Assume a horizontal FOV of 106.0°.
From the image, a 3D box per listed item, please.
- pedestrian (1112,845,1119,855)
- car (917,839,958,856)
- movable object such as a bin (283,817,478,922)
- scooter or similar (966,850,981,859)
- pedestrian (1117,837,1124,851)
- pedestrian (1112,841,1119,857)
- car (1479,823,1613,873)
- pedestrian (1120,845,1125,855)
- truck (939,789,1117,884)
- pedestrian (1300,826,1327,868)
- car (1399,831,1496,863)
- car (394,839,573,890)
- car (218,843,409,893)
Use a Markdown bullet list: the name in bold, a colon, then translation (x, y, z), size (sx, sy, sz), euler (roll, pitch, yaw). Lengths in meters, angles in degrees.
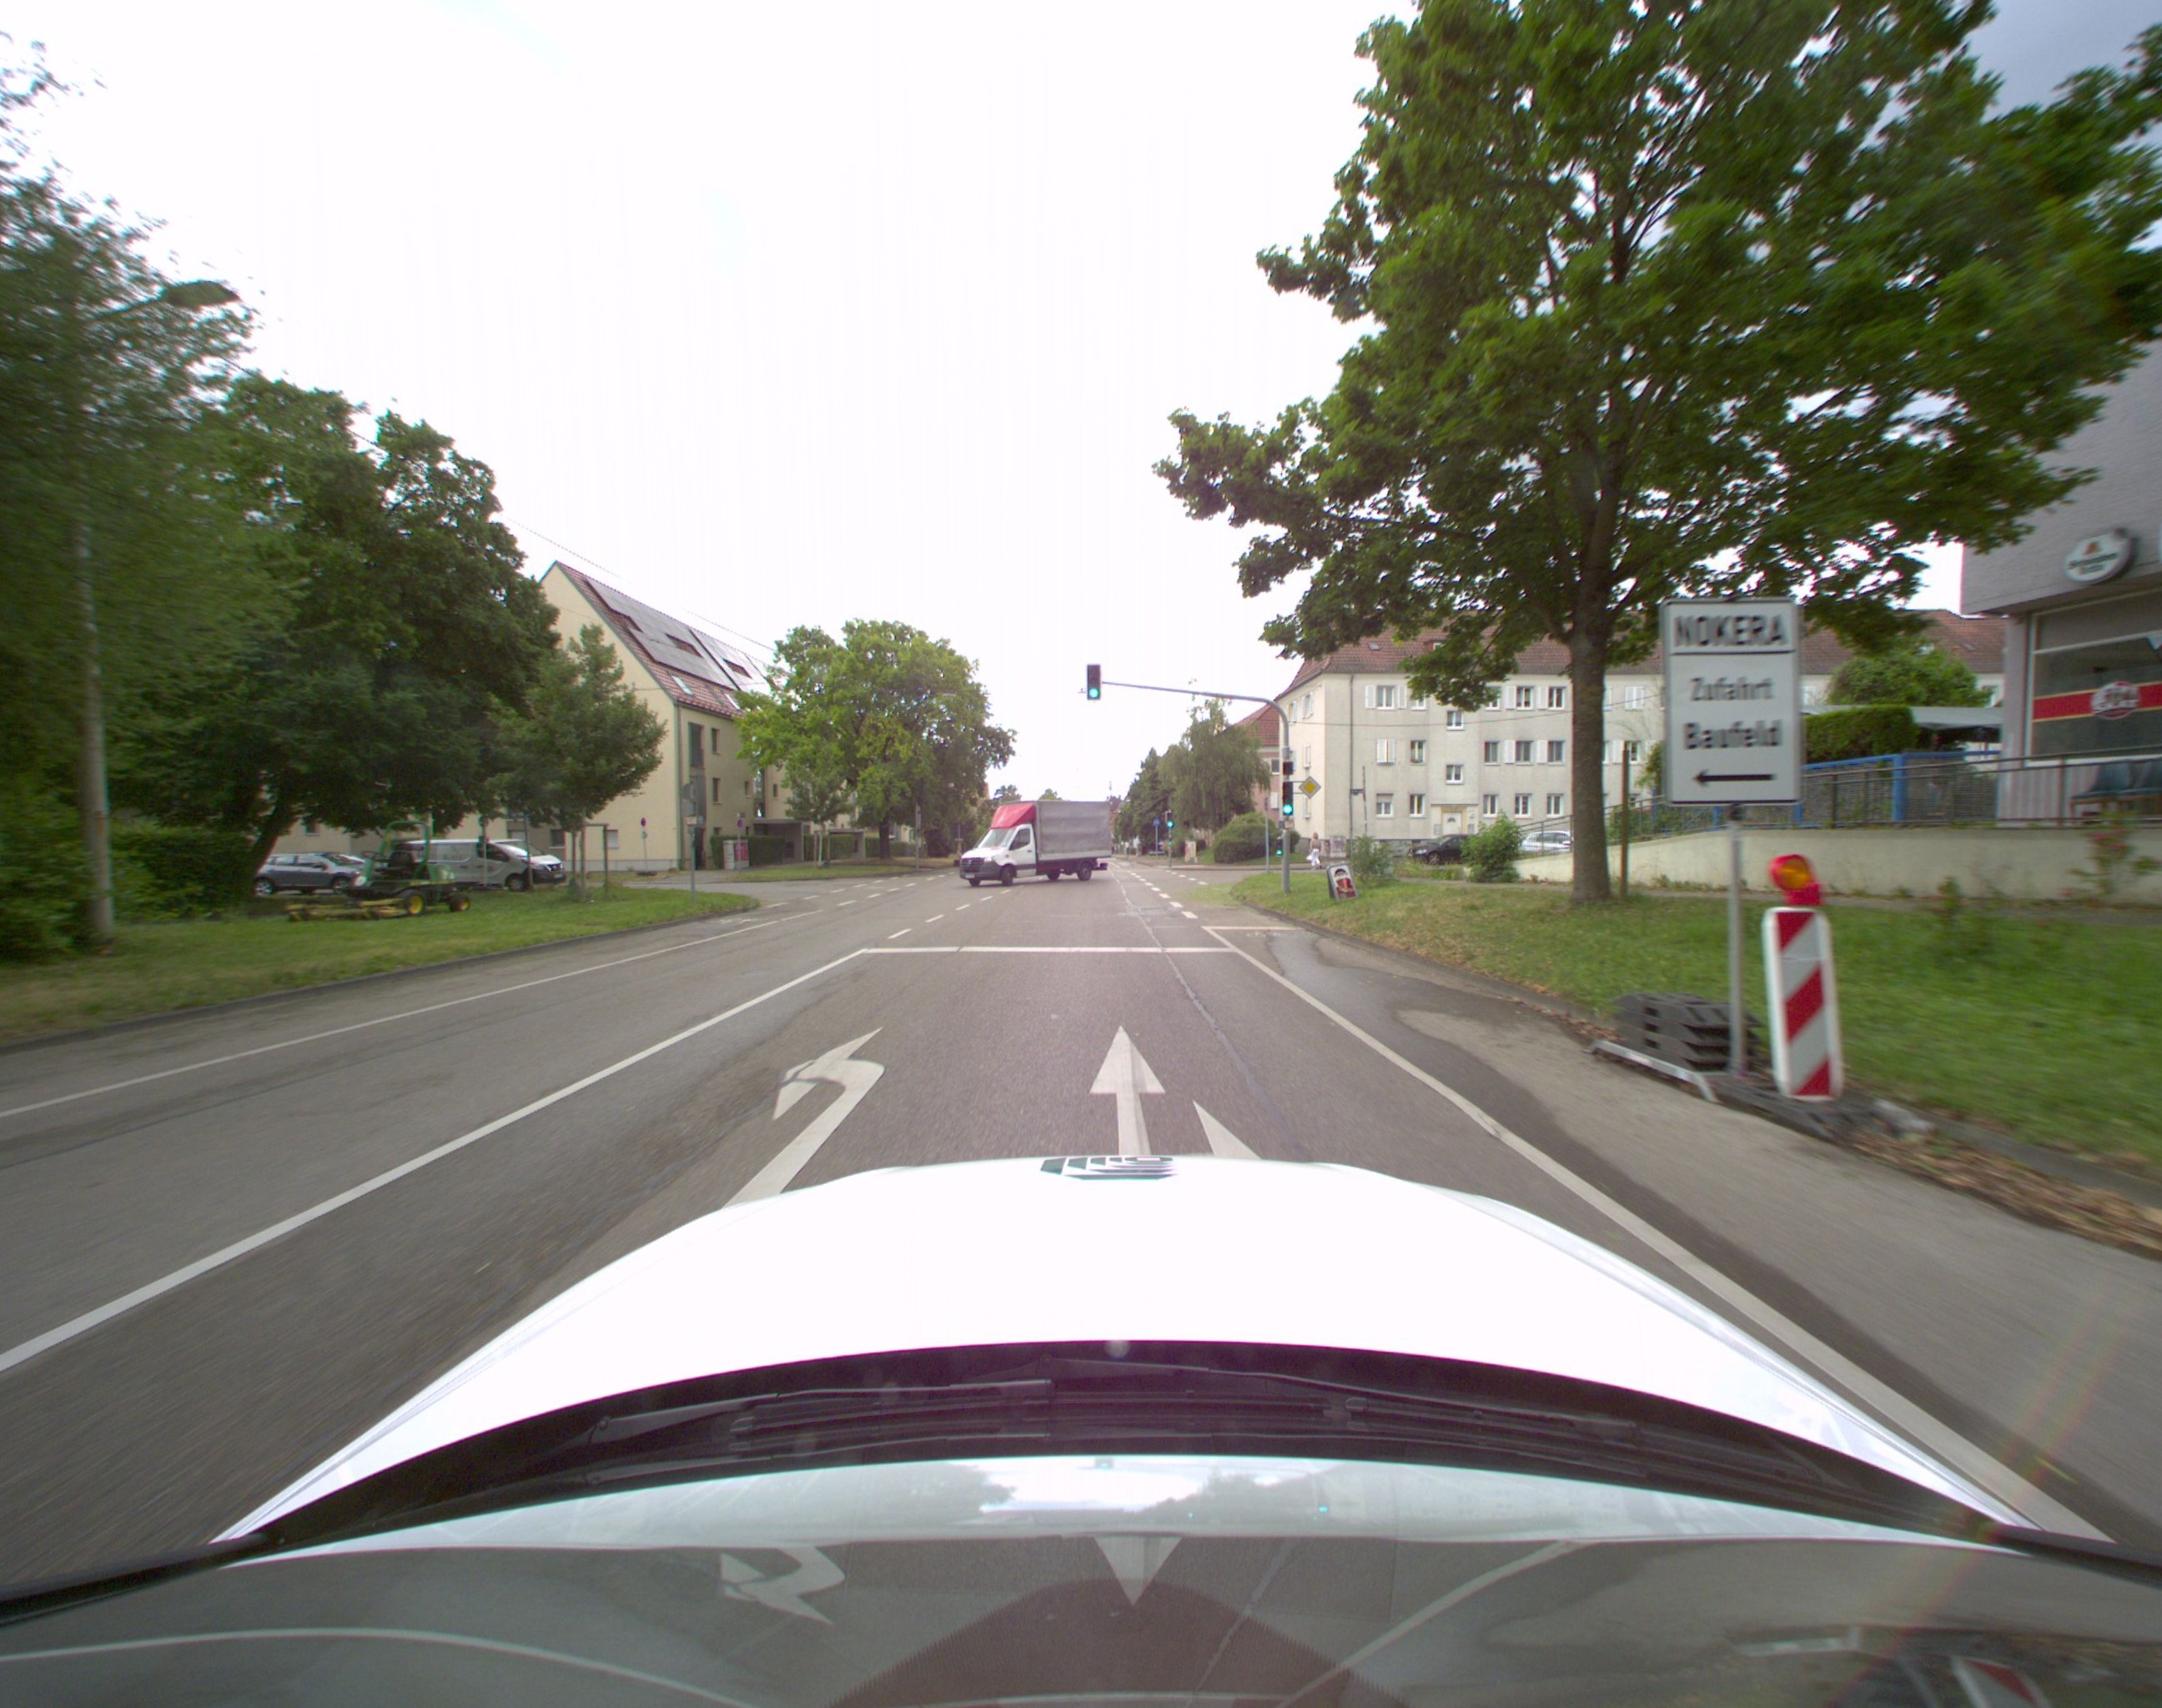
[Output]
- **pedestrian**: translation (6.304, -0.737, 149.716), size (1.196, 1.810, 1.301), euler (0, 0, 1)
- **car**: translation (-13.216, -0.588, 75.174), size (3.440, 1.596, 1.999), euler (0, 0, -2)
- **movable object such as a bin**: translation (-13.806, 0.278, 16.260), size (1.213, 1.903, 3.026), euler (0, 0, 1)
- **scooter or similar**: translation (-12.043, 0.065, 91.262), size (1.692, 1.082, 0.744), euler (0, 0, -8)
- **pedestrian**: translation (6.060, -1.556, 124.945), size (0.987, 2.207, 0.937), euler (0, 0, -2)
- **pedestrian**: translation (4.536, -0.662, 107.429), size (0.985, 2.207, 0.939), euler (0, 0, 3)
- **car**: translation (14.704, -0.177, 26.033), size (1.866, 1.473, 3.995), euler (0, 0, -4)
- **pedestrian**: translation (7.564, -0.735, 149.771), size (0.918, 1.810, 1.102), euler (0, 0, 1)
- **truck**: translation (-1.900, -0.668, 32.119), size (2.508, 3.307, 7.295), euler (0, 1, 42)
- **pedestrian**: translation (10.578, -0.337, 37.090), size (0.749, 1.855, 0.950), euler (-3, 1, -14)
- **car**: translation (18.118, -0.332, 40.446), size (3.970, 1.536, 2.002), euler (0, 0, 3)
- **car**: translation (-21.672, 0.368, 29.709), size (4.979, 1.813, 1.999), euler (0, 0, -2)
- **car**: translation (-27.715, 0.481, 29.535), size (4.909, 1.761, 1.999), euler (0, 0, -2)
